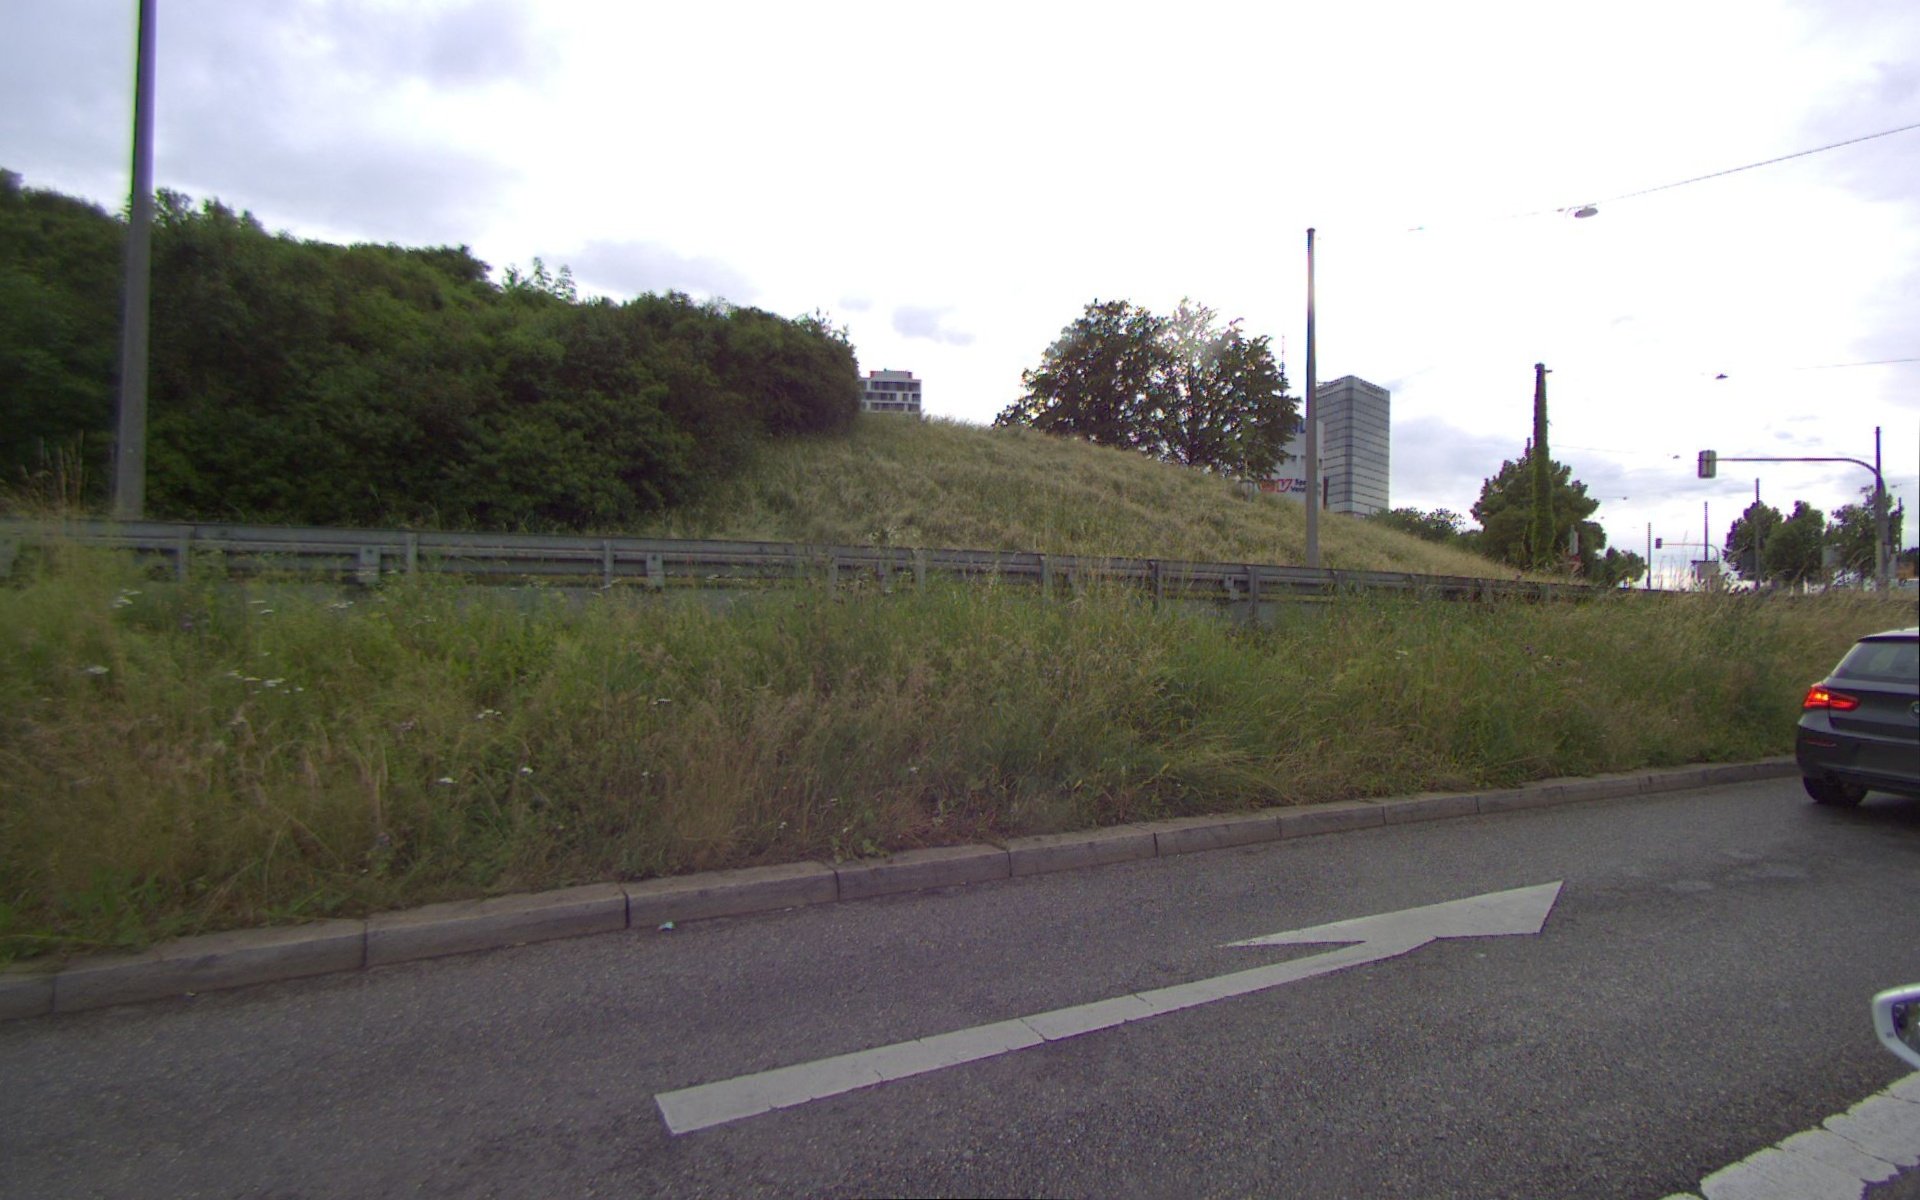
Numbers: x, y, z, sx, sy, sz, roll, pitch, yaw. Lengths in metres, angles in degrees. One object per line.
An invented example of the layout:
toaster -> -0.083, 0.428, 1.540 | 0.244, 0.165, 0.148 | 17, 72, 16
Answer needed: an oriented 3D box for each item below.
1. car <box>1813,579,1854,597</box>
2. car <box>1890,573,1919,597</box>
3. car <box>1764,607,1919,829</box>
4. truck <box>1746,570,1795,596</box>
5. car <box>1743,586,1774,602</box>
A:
car -> 91.789, -1.254, 105.601 | 1.962, 1.681, 4.541 | 2, -1, 25
car -> 80.684, -1.226, 84.604 | 2.096, 1.818, 4.736 | 2, -1, 26
car -> 8.254, 0.864, 7.675 | 4.059, 1.479, 1.697 | 2, -1, -26
truck -> 103.905, -2.162, 128.877 | 3.206, 3.116, 6.171 | 4, 3, 23
car -> 97.218, -0.711, 122.387 | 1.962, 1.681, 4.350 | 2, -1, 25
